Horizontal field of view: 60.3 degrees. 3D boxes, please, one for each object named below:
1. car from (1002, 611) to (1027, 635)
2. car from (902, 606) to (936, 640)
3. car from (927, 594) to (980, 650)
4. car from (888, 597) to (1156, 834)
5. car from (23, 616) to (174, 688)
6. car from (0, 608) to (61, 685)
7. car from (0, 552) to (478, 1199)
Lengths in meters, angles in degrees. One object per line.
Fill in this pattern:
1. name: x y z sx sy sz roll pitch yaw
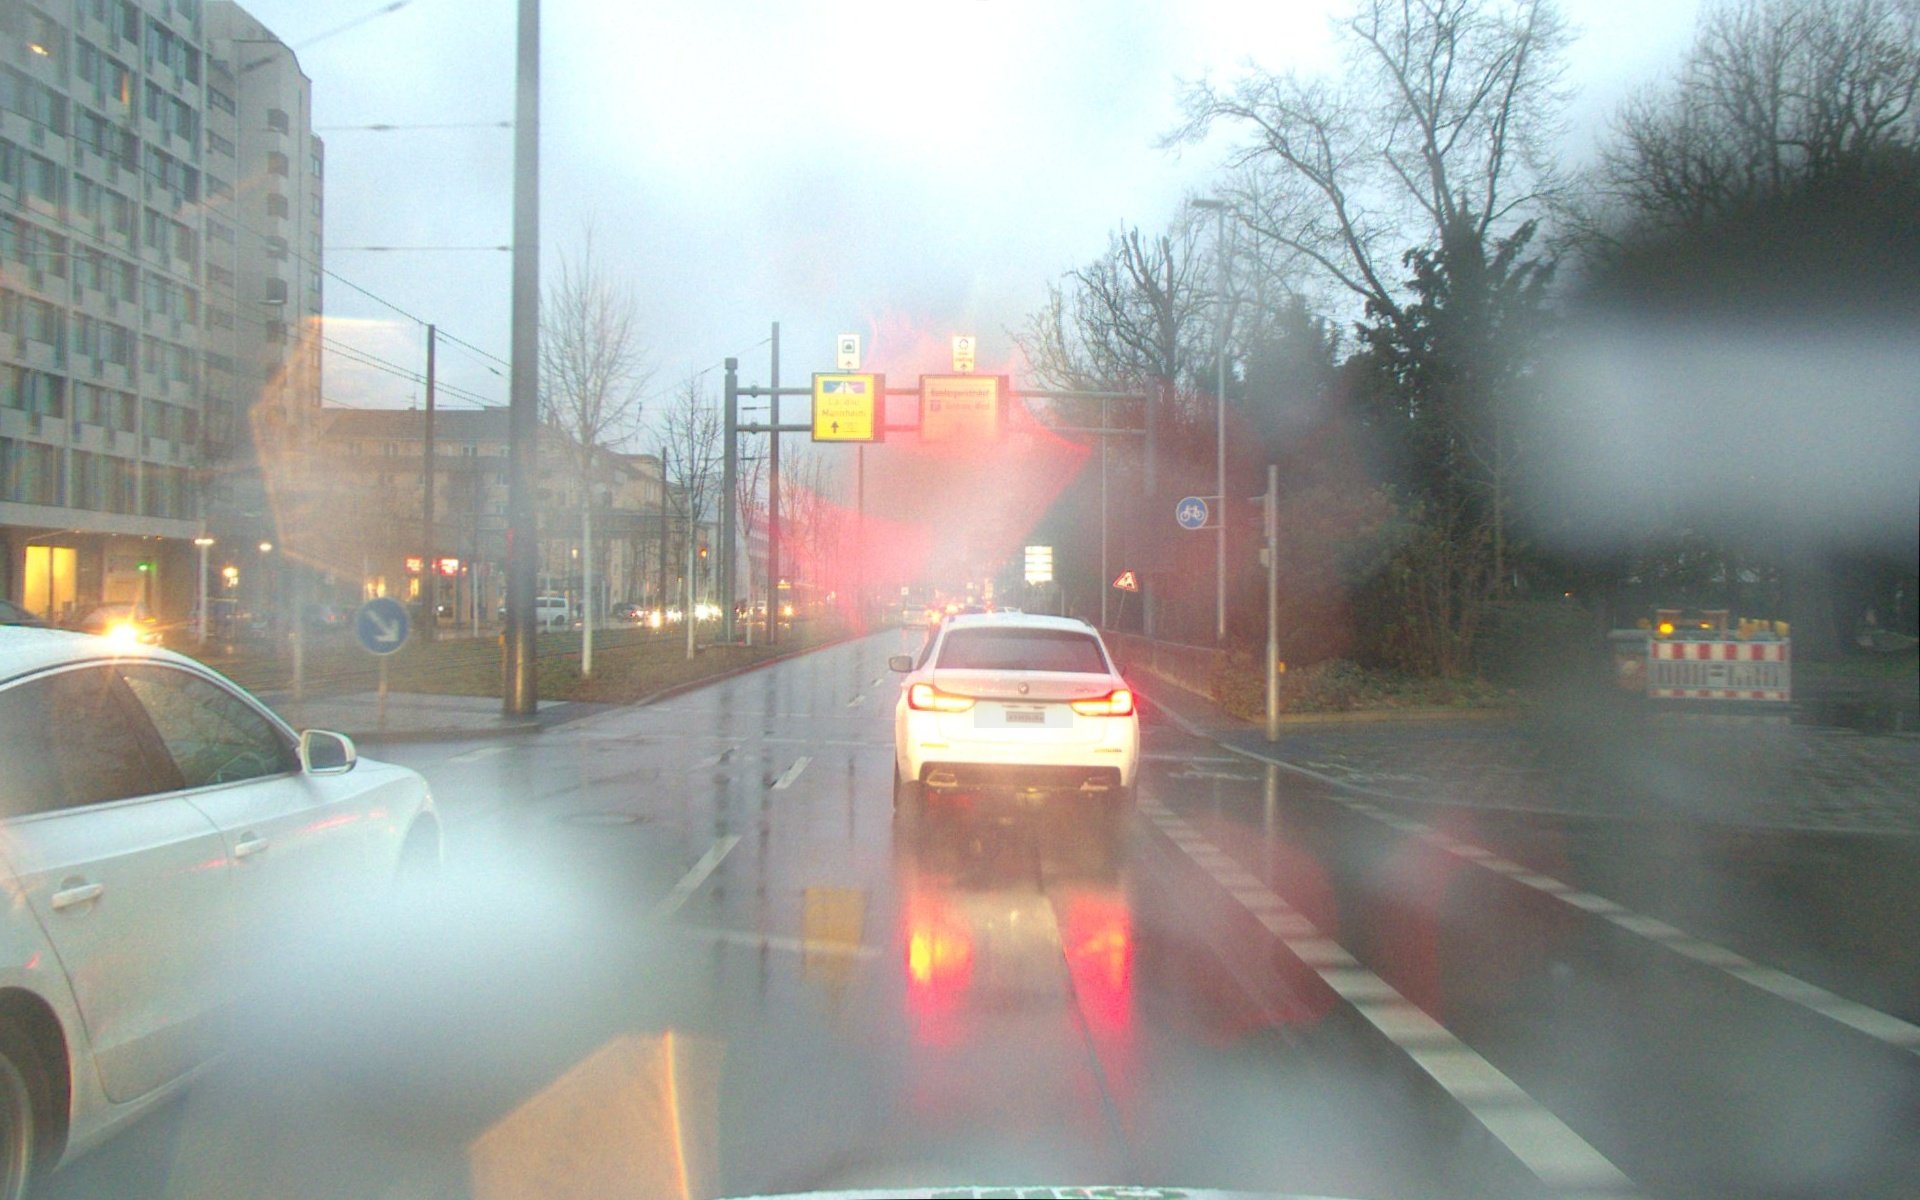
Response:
1. car: 4.811 2.028 146.568 1.953 2.049 3.999 2 0 0
2. car: -2.565 1.439 104.094 1.953 2.049 3.999 2 0 0
3. car: -0.251 0.849 64.975 1.953 2.049 3.999 2 0 0
4. car: 0.338 0.808 13.444 1.725 1.580 4.248 2 0 -4
5. car: -20.064 1.176 38.763 1.960 1.487 5.076 2 0 -14
6. car: -19.790 0.894 32.014 1.953 1.487 5.094 2 0 0
7. car: -2.716 0.637 4.233 1.724 1.495 4.250 2 0 -1
